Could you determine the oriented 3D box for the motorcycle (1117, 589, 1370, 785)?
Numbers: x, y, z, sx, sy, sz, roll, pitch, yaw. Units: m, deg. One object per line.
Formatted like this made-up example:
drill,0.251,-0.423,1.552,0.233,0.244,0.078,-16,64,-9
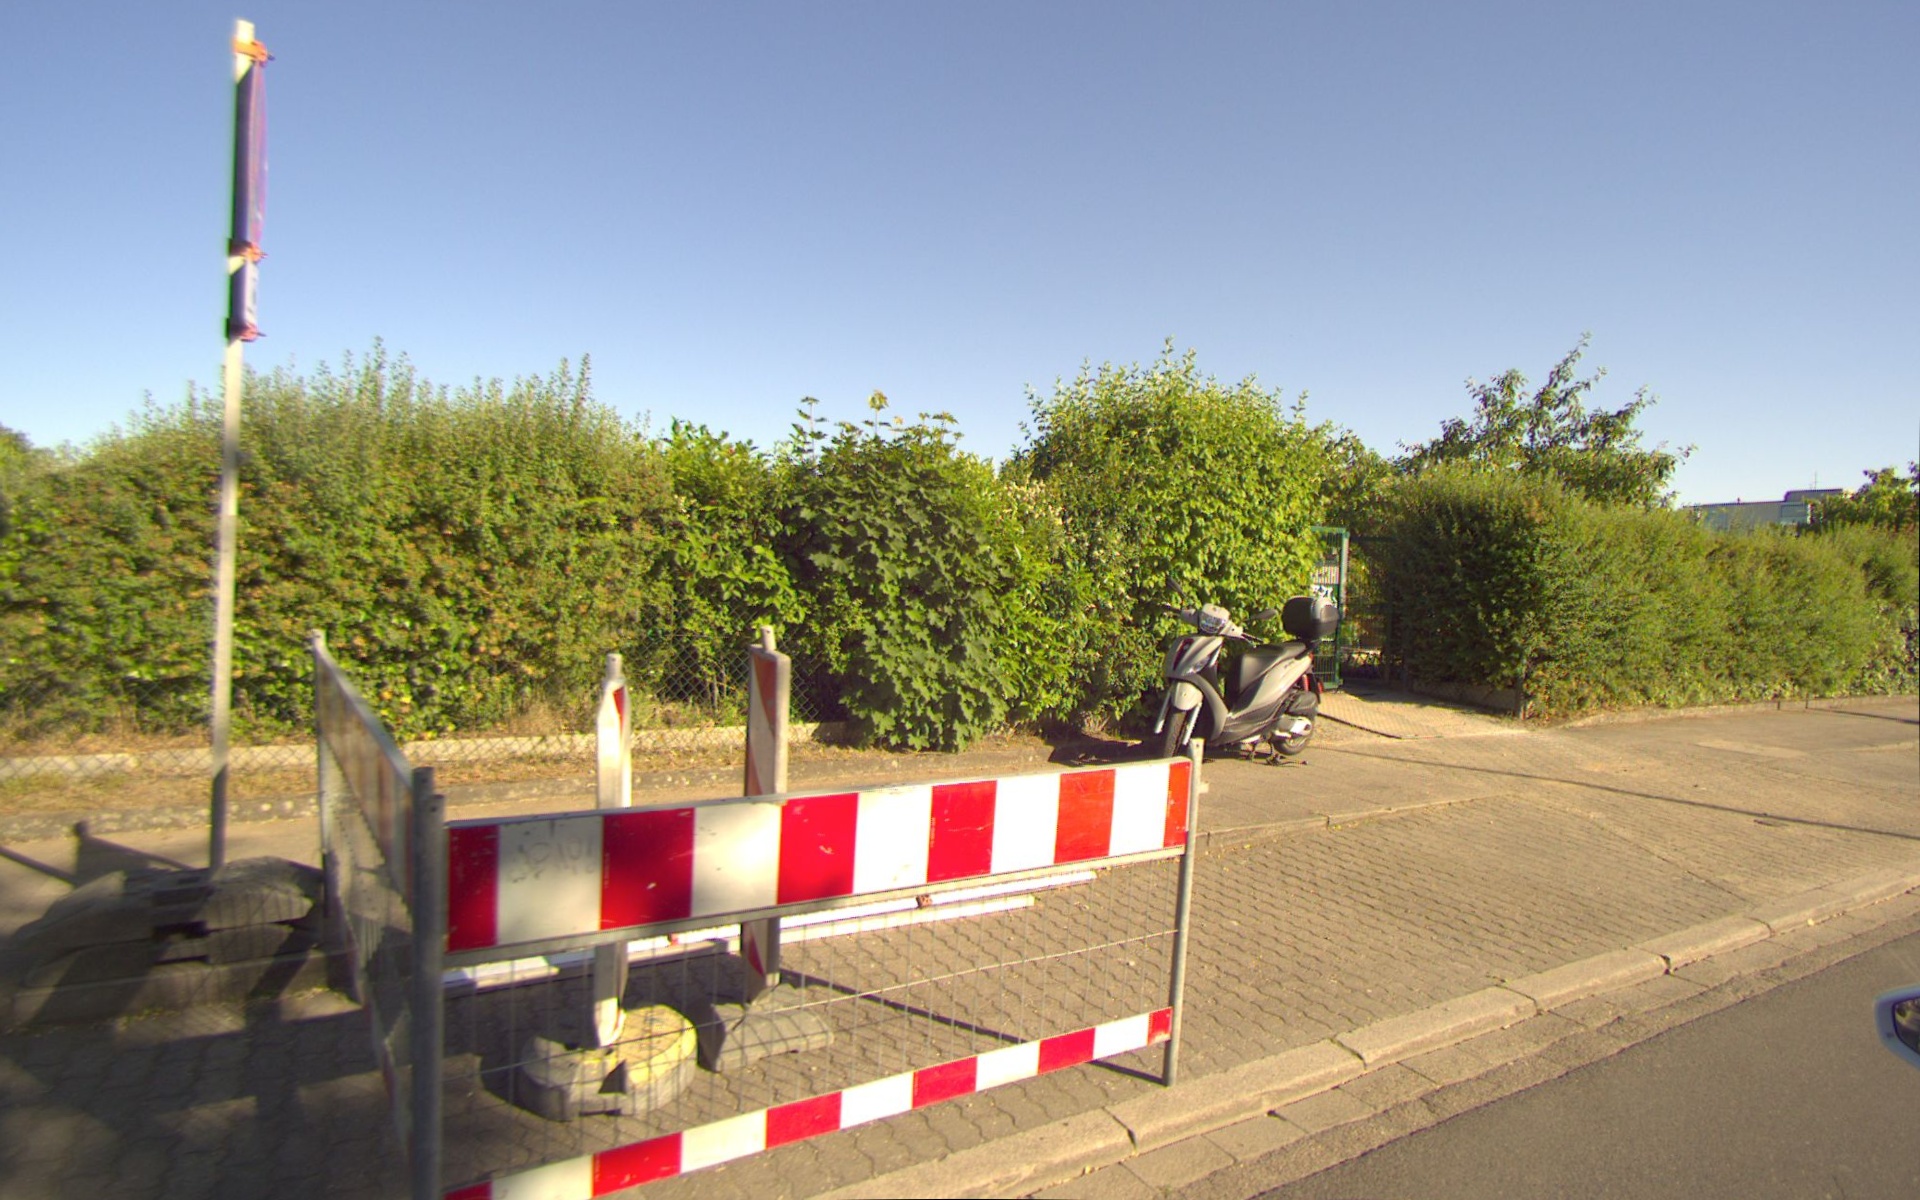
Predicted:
motorcycle,2.160,0.610,7.497,2.070,1.285,0.563,2,2,-35
